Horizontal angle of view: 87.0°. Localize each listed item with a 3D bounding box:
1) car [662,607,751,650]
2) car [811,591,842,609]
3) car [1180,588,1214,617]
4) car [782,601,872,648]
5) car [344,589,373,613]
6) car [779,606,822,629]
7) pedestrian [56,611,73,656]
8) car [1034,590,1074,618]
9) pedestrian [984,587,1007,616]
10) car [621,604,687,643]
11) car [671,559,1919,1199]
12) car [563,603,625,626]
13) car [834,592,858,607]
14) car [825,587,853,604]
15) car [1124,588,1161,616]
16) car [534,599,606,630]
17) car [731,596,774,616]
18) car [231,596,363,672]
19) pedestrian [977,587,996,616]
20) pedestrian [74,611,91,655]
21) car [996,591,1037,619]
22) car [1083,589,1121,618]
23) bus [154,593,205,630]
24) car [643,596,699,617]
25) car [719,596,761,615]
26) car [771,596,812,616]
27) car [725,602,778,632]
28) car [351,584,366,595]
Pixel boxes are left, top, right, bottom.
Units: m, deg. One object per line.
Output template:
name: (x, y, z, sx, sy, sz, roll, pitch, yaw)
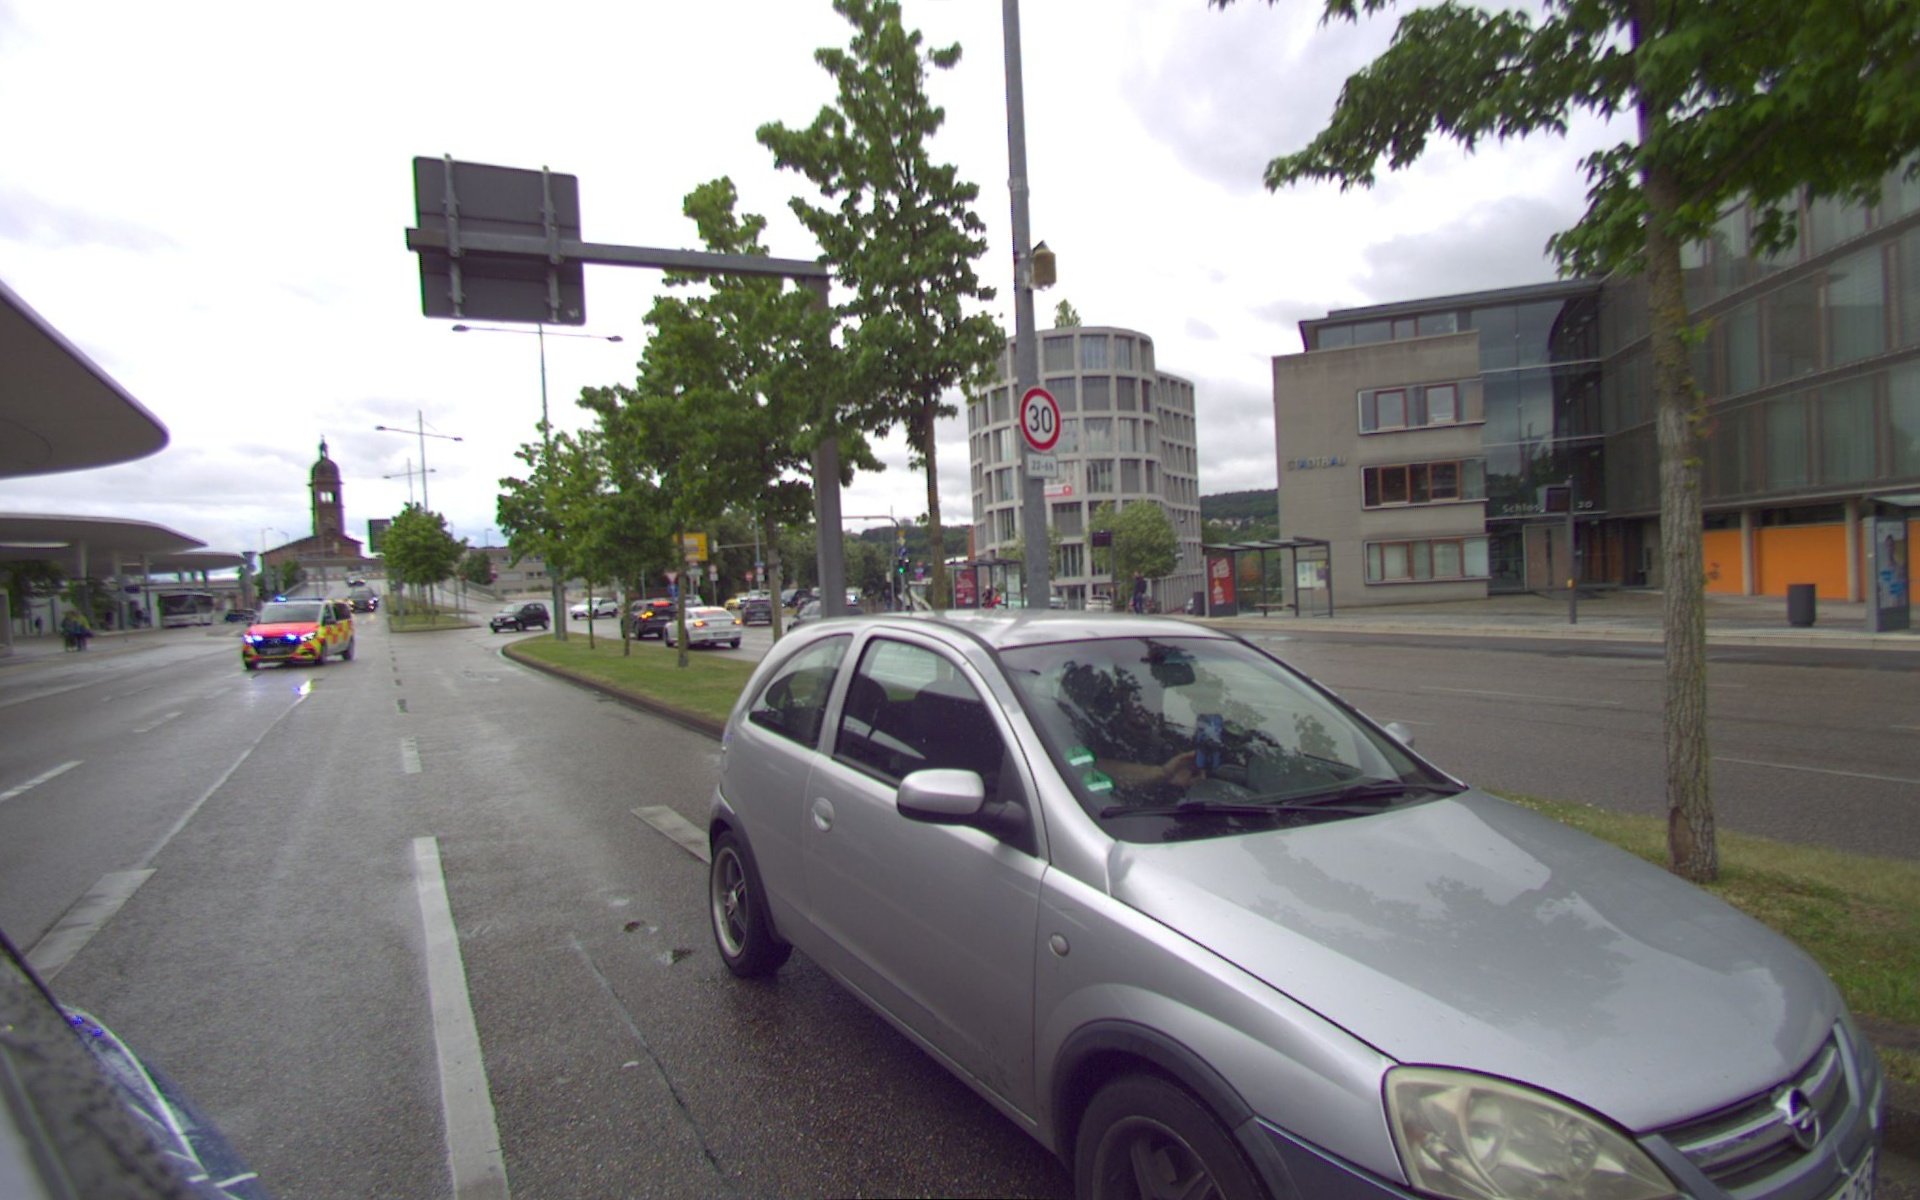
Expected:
car: (-8.815, 0.940, 35.009, 1.977, 1.363, 4.178, -1, 0, -29)
car: (-13.447, -0.017, 101.993, 1.857, 1.646, 4.144, -2, 0, 10)
car: (14.618, 0.156, 62.261, 1.860, 1.715, 4.136, -1, 0, 15)
car: (-4.648, 0.796, 34.756, 1.671, 1.477, 4.466, -1, 0, -27)
car: (-53.774, 0.104, 90.441, 1.967, 2.029, 4.010, -1, 0, -35)
car: (-11.298, 1.223, 71.500, 1.853, 1.566, 4.015, -1, 0, -27)
pedestrian: (-36.102, 1.338, 40.790, 0.438, 1.777, 0.538, -2, 0, -36)
car: (6.069, 0.264, 64.726, 1.860, 1.715, 4.136, -1, 0, 15)
pedestrian: (1.823, 0.088, 52.458, 0.967, 1.501, 0.736, -1, 0, -19)
car: (-13.171, 0.967, 43.412, 1.977, 1.566, 4.178, -1, 0, -27)
car: (0.433, 0.692, 3.166, 1.671, 1.477, 3.731, -1, 0, -31)
car: (-26.856, 1.027, 74.391, 1.808, 1.571, 4.002, -1, 0, 34)
car: (-12.717, -0.088, 113.222, 1.853, 1.646, 4.151, -1, 0, 5)
car: (-12.368, -0.466, 103.507, 1.855, 1.646, 4.147, -1, 0, 8)
car: (11.483, 0.109, 63.504, 1.860, 1.715, 4.136, -1, 0, 15)
car: (-22.722, 0.823, 59.126, 1.860, 1.715, 4.136, -1, 0, 15)
car: (-17.781, 0.497, 86.917, 1.861, 1.646, 4.277, -1, 0, 17)
car: (-19.440, 0.927, 29.944, 1.966, 2.029, 5.077, -1, 0, -18)
pedestrian: (1.396, 0.093, 53.503, 0.721, 1.501, 0.737, -1, 0, -21)
pedestrian: (-35.643, 1.332, 41.130, 0.439, 1.777, 0.538, -2, 0, -36)
car: (3.700, 0.294, 65.506, 1.860, 1.715, 4.136, -1, 0, 15)
car: (8.988, 0.213, 63.905, 1.860, 1.714, 4.137, -1, 0, 15)
bus: (-72.443, 1.084, 93.925, 3.527, 3.121, 10.776, -2, 0, -38)
car: (-24.071, 0.547, 84.302, 4.092, 1.646, 1.880, -2, 0, -41)
car: (-19.620, 0.458, 90.344, 1.861, 1.646, 4.277, -1, 0, 17)
car: (-14.221, 0.467, 85.698, 1.861, 1.646, 4.135, -1, 0, 17)
car: (-11.433, 0.911, 55.258, 1.853, 1.566, 4.015, -1, 0, -27)
car: (-85.588, -1.504, 143.920, 1.524, 1.572, 3.659, -1, 0, -35)
